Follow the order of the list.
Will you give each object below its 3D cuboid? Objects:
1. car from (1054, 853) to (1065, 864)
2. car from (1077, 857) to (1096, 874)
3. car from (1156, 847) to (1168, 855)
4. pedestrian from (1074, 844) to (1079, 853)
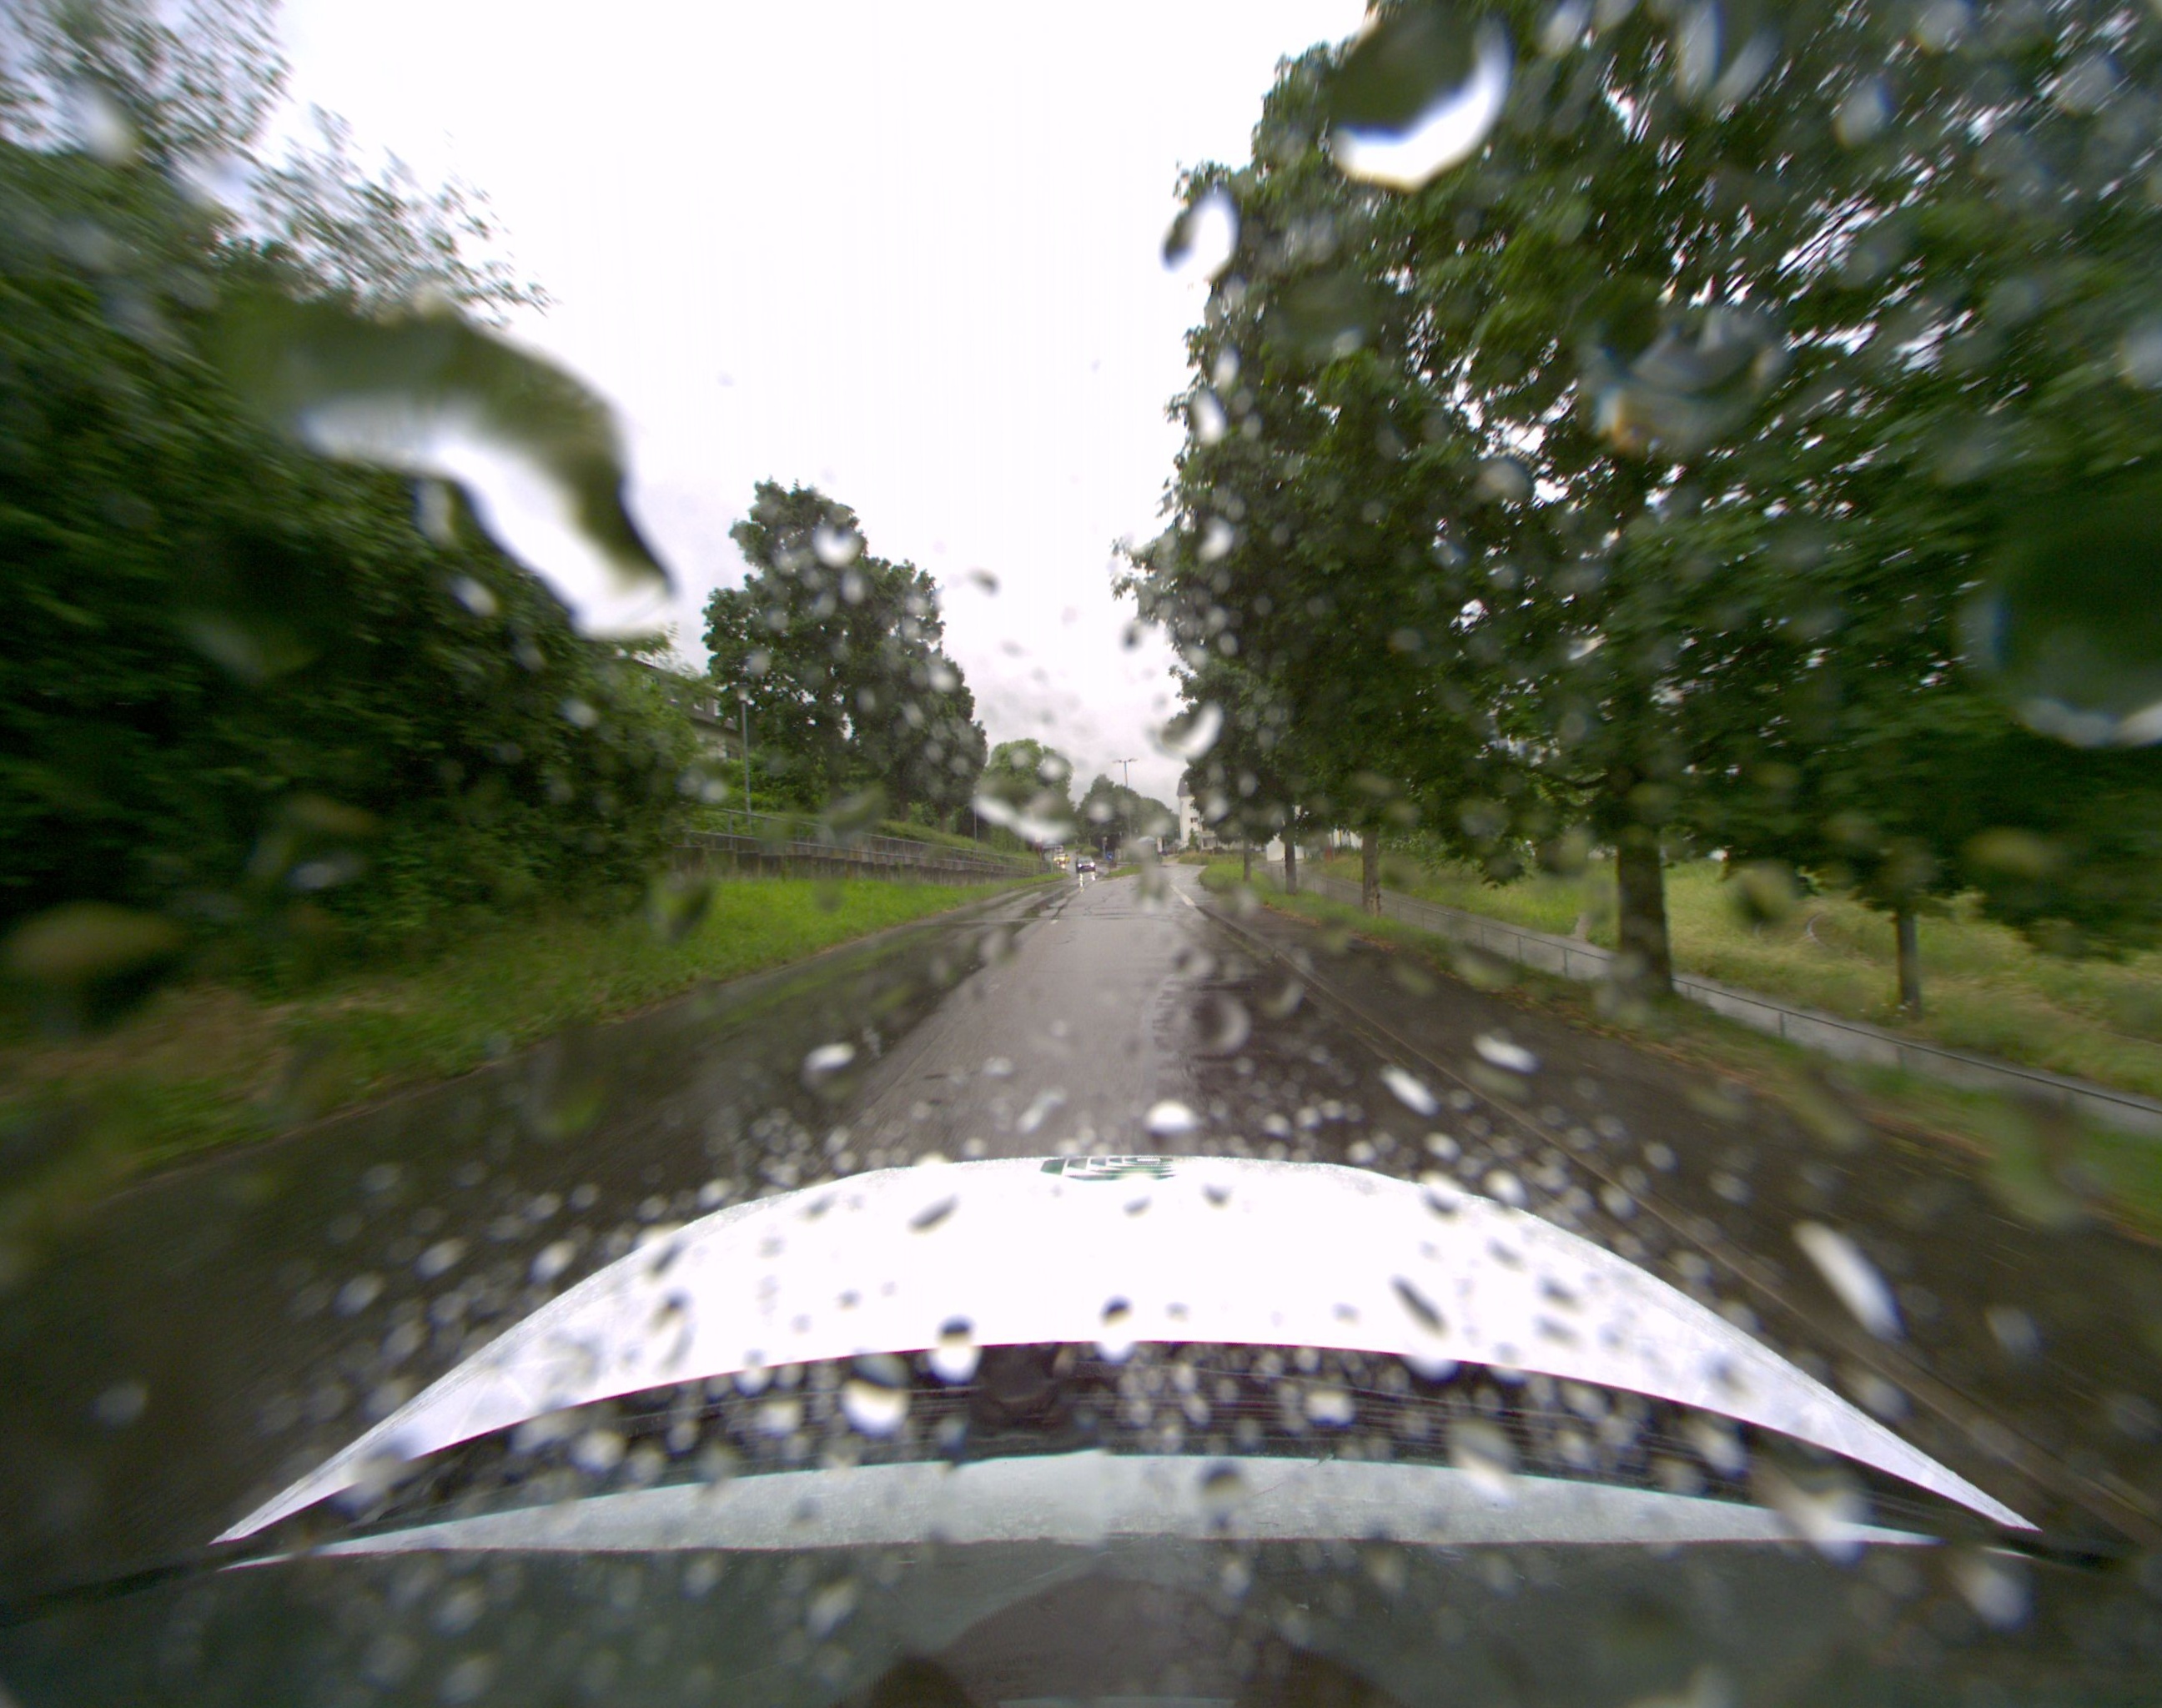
[{"bbox_3d":[-3.314,0.694,124.783,1.569,1.410,3.470,-5,0,-3],"label":"car"},{"bbox_3d":[0.566,1.085,79.521,1.755,1.503,4.141,-5,0,1],"label":"car"},{"bbox_3d":[15.437,-0.561,155.127,1.685,1.438,3.607,-3,2,-4],"label":"car"},{"bbox_3d":[-0.862,-1.082,160.900,0.918,1.675,1.056,-5,2,-4],"label":"pedestrian"}]
